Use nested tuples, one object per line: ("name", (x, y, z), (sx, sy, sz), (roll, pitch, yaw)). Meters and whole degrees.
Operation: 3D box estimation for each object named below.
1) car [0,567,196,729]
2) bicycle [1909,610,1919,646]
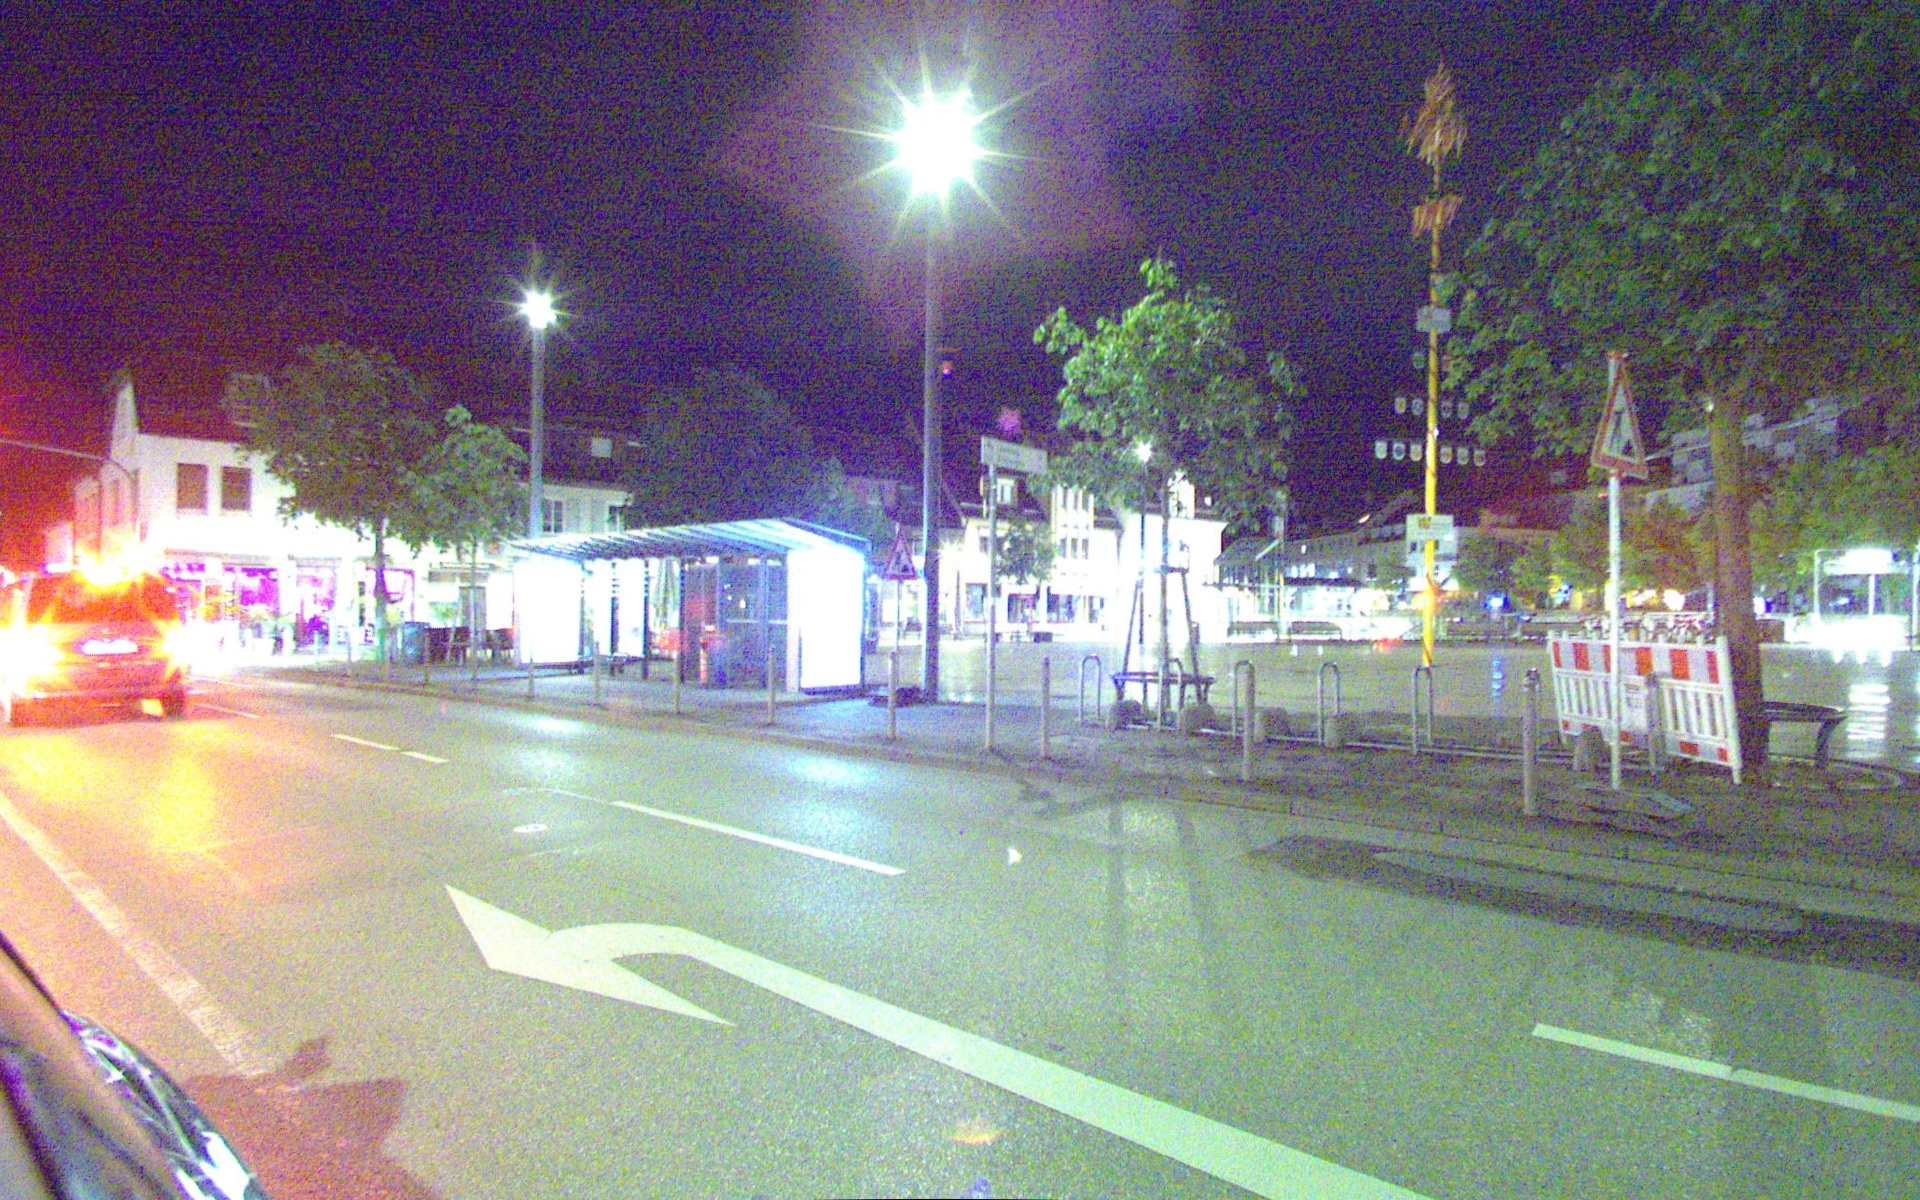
("car", (-12.445, 0.596, 14.129), (4.911, 1.886, 1.946), (-1, -1, 42))
("bicycle", (26.411, 0.738, 26.976), (1.525, 0.965, 0.476), (-1, 0, 25))
